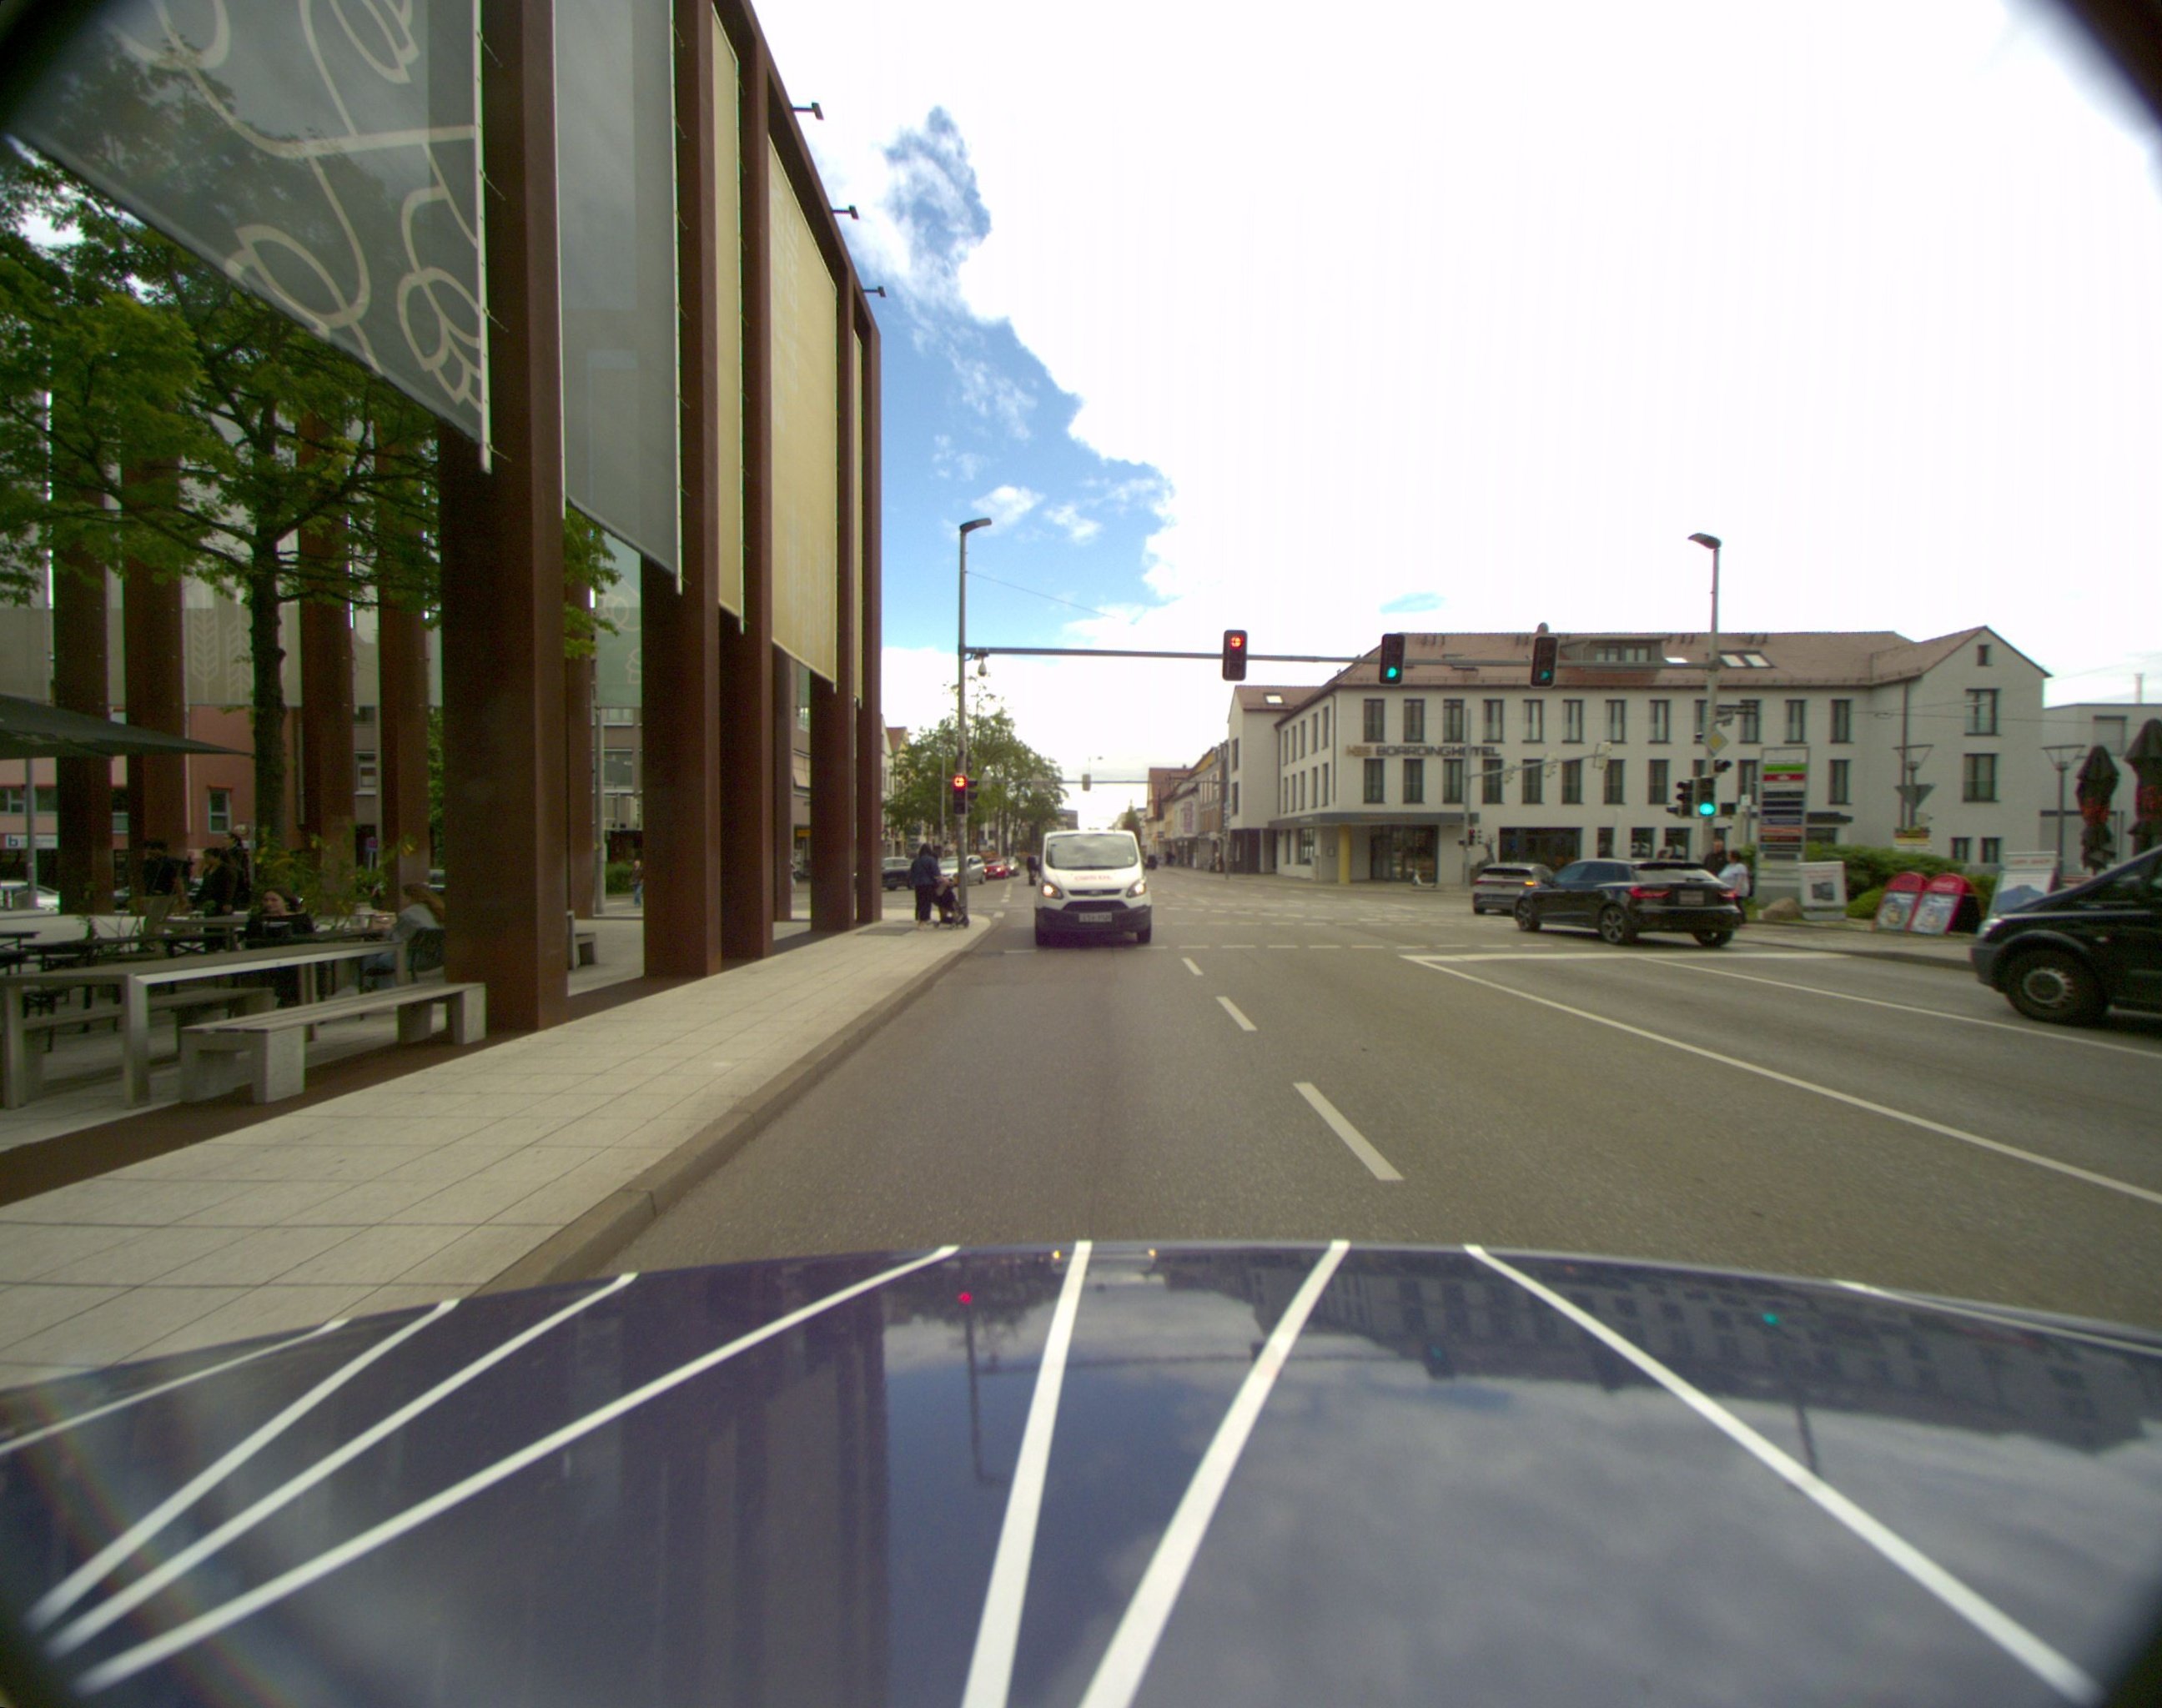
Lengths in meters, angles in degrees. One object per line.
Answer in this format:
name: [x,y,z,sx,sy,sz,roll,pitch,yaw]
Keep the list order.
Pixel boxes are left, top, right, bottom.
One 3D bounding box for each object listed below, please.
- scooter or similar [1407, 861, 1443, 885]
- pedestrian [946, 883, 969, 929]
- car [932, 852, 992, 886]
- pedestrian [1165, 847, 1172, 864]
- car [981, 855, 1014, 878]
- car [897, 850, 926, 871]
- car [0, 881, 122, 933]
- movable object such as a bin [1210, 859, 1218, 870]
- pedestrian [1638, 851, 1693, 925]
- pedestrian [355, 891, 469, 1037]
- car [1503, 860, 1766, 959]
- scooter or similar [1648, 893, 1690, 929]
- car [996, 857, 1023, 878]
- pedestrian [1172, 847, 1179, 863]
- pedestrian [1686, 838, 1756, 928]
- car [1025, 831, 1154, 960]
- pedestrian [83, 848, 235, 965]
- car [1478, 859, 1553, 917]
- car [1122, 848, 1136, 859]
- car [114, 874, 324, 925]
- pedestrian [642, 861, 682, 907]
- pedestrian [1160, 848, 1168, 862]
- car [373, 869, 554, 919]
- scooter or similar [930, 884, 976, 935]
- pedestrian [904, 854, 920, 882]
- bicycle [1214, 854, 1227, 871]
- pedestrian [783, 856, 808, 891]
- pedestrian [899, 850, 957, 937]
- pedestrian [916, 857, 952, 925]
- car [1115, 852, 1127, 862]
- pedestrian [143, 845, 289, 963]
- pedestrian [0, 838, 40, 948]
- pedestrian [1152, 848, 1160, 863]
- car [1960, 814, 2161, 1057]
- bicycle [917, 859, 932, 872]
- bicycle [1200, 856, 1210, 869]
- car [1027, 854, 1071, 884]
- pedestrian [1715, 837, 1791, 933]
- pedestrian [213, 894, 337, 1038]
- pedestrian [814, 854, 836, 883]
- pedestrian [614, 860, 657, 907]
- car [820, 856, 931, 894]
scooter or similar: [17.597,0.969,38.894,0.427,1.152,1.569,-1,3,-41]
pedestrian: [-2.590,1.086,15.948,0.362,0.918,0.454,0,1,3]
car: [-6.448,0.791,41.633,1.742,1.691,4.384,-2,0,11]
pedestrian: [9.954,0.161,86.227,0.708,1.828,1.028,0,1,2]
car: [-5.762,0.828,52.707,1.630,1.440,3.643,-2,0,4]
car: [-15.275,0.578,68.535,1.739,1.793,4.260,1,0,-2]
car: [-33.686,1.662,23.892,4.570,1.479,1.800,-1,0,-2]
movable object such as a bin: [10.865,0.827,62.156,0.552,0.894,0.507,-1,1,-1]
pedestrian: [13.729,0.778,17.875,0.811,1.703,0.703,0,0,13]
pedestrian: [-5.973,0.958,6.812,0.448,1.213,0.606,0,1,3]
car: [9.530,0.864,13.551,1.706,1.435,3.999,0,0,-1]
scooter or similar: [12.581,1.214,16.264,0.455,0.723,0.538,0,0,-7]
car: [-5.608,1.013,59.883,1.802,1.521,3.999,-2,0,-1]
pedestrian: [10.742,0.102,86.141,0.708,1.771,0.870,0,1,2]
pedestrian: [13.120,0.574,15.599,0.812,1.797,0.745,-1,1,-7]
car: [0.175,0.638,14.810,1.940,1.968,5.779,-2,0,1]
pedestrian: [-13.815,0.754,11.433,0.881,1.671,1.120,0,1,-2]
car: [12.950,0.936,22.661,1.759,1.508,4.396,1,0,30]
car: [6.531,-0.053,103.682,1.748,1.450,4.235,1,0,1]
car: [-26.678,1.384,23.615,4.545,1.396,1.801,-1,0,2]
pedestrian: [-14.594,1.018,26.491,0.832,1.549,0.969,-1,1,0]
pedestrian: [9.321,0.126,85.583,0.812,1.574,0.920,0,1,2]
car: [-19.480,1.236,24.122,4.184,1.396,1.800,-1,0,-2]
scooter or similar: [-2.556,1.097,15.203,0.633,0.956,0.622,0,1,34]
pedestrian: [-9.946,0.821,44.765,0.743,1.617,0.953,0,1,-3]
bicycle: [10.933,0.661,59.545,0.583,1.225,2.119,-1,0,-1]
pedestrian: [-13.497,0.899,35.938,0.810,1.617,1.093,0,1,-1]
pedestrian: [-2.987,0.737,14.818,0.870,1.637,0.682,0,1,35]
pedestrian: [-3.077,0.766,15.945,0.602,1.412,0.582,0,1,3]
car: [6.401,0.444,120.787,1.748,1.450,3.818,1,0,1]
pedestrian: [-12.865,0.707,11.353,0.881,1.671,1.120,0,1,-2]
pedestrian: [-17.744,0.627,12.046,0.881,1.757,1.120,0,1,-2]
pedestrian: [8.501,0.132,85.736,0.812,1.651,0.920,0,1,2]
car: [9.364,0.659,4.838,1.870,1.898,4.898,1,0,1]
bicycle: [-12.669,0.930,61.495,1.564,1.042,0.407,0,1,43]
bicycle: [10.781,0.752,66.245,0.573,1.094,1.902,-1,0,1]
car: [-1.629,0.762,39.980,1.998,1.490,4.000,0,0,2]
pedestrian: [13.054,0.586,14.779,0.812,1.797,0.774,-1,1,-7]
pedestrian: [-7.300,0.988,6.906,0.448,1.213,0.607,0,1,5]
pedestrian: [-14.098,0.796,41.910,0.823,1.586,1.039,0,1,2]
pedestrian: [-15.468,1.015,26.404,0.832,1.575,1.058,-1,1,-1]
car: [-9.761,0.961,36.380,1.852,1.600,4.871,-1,0,43]
